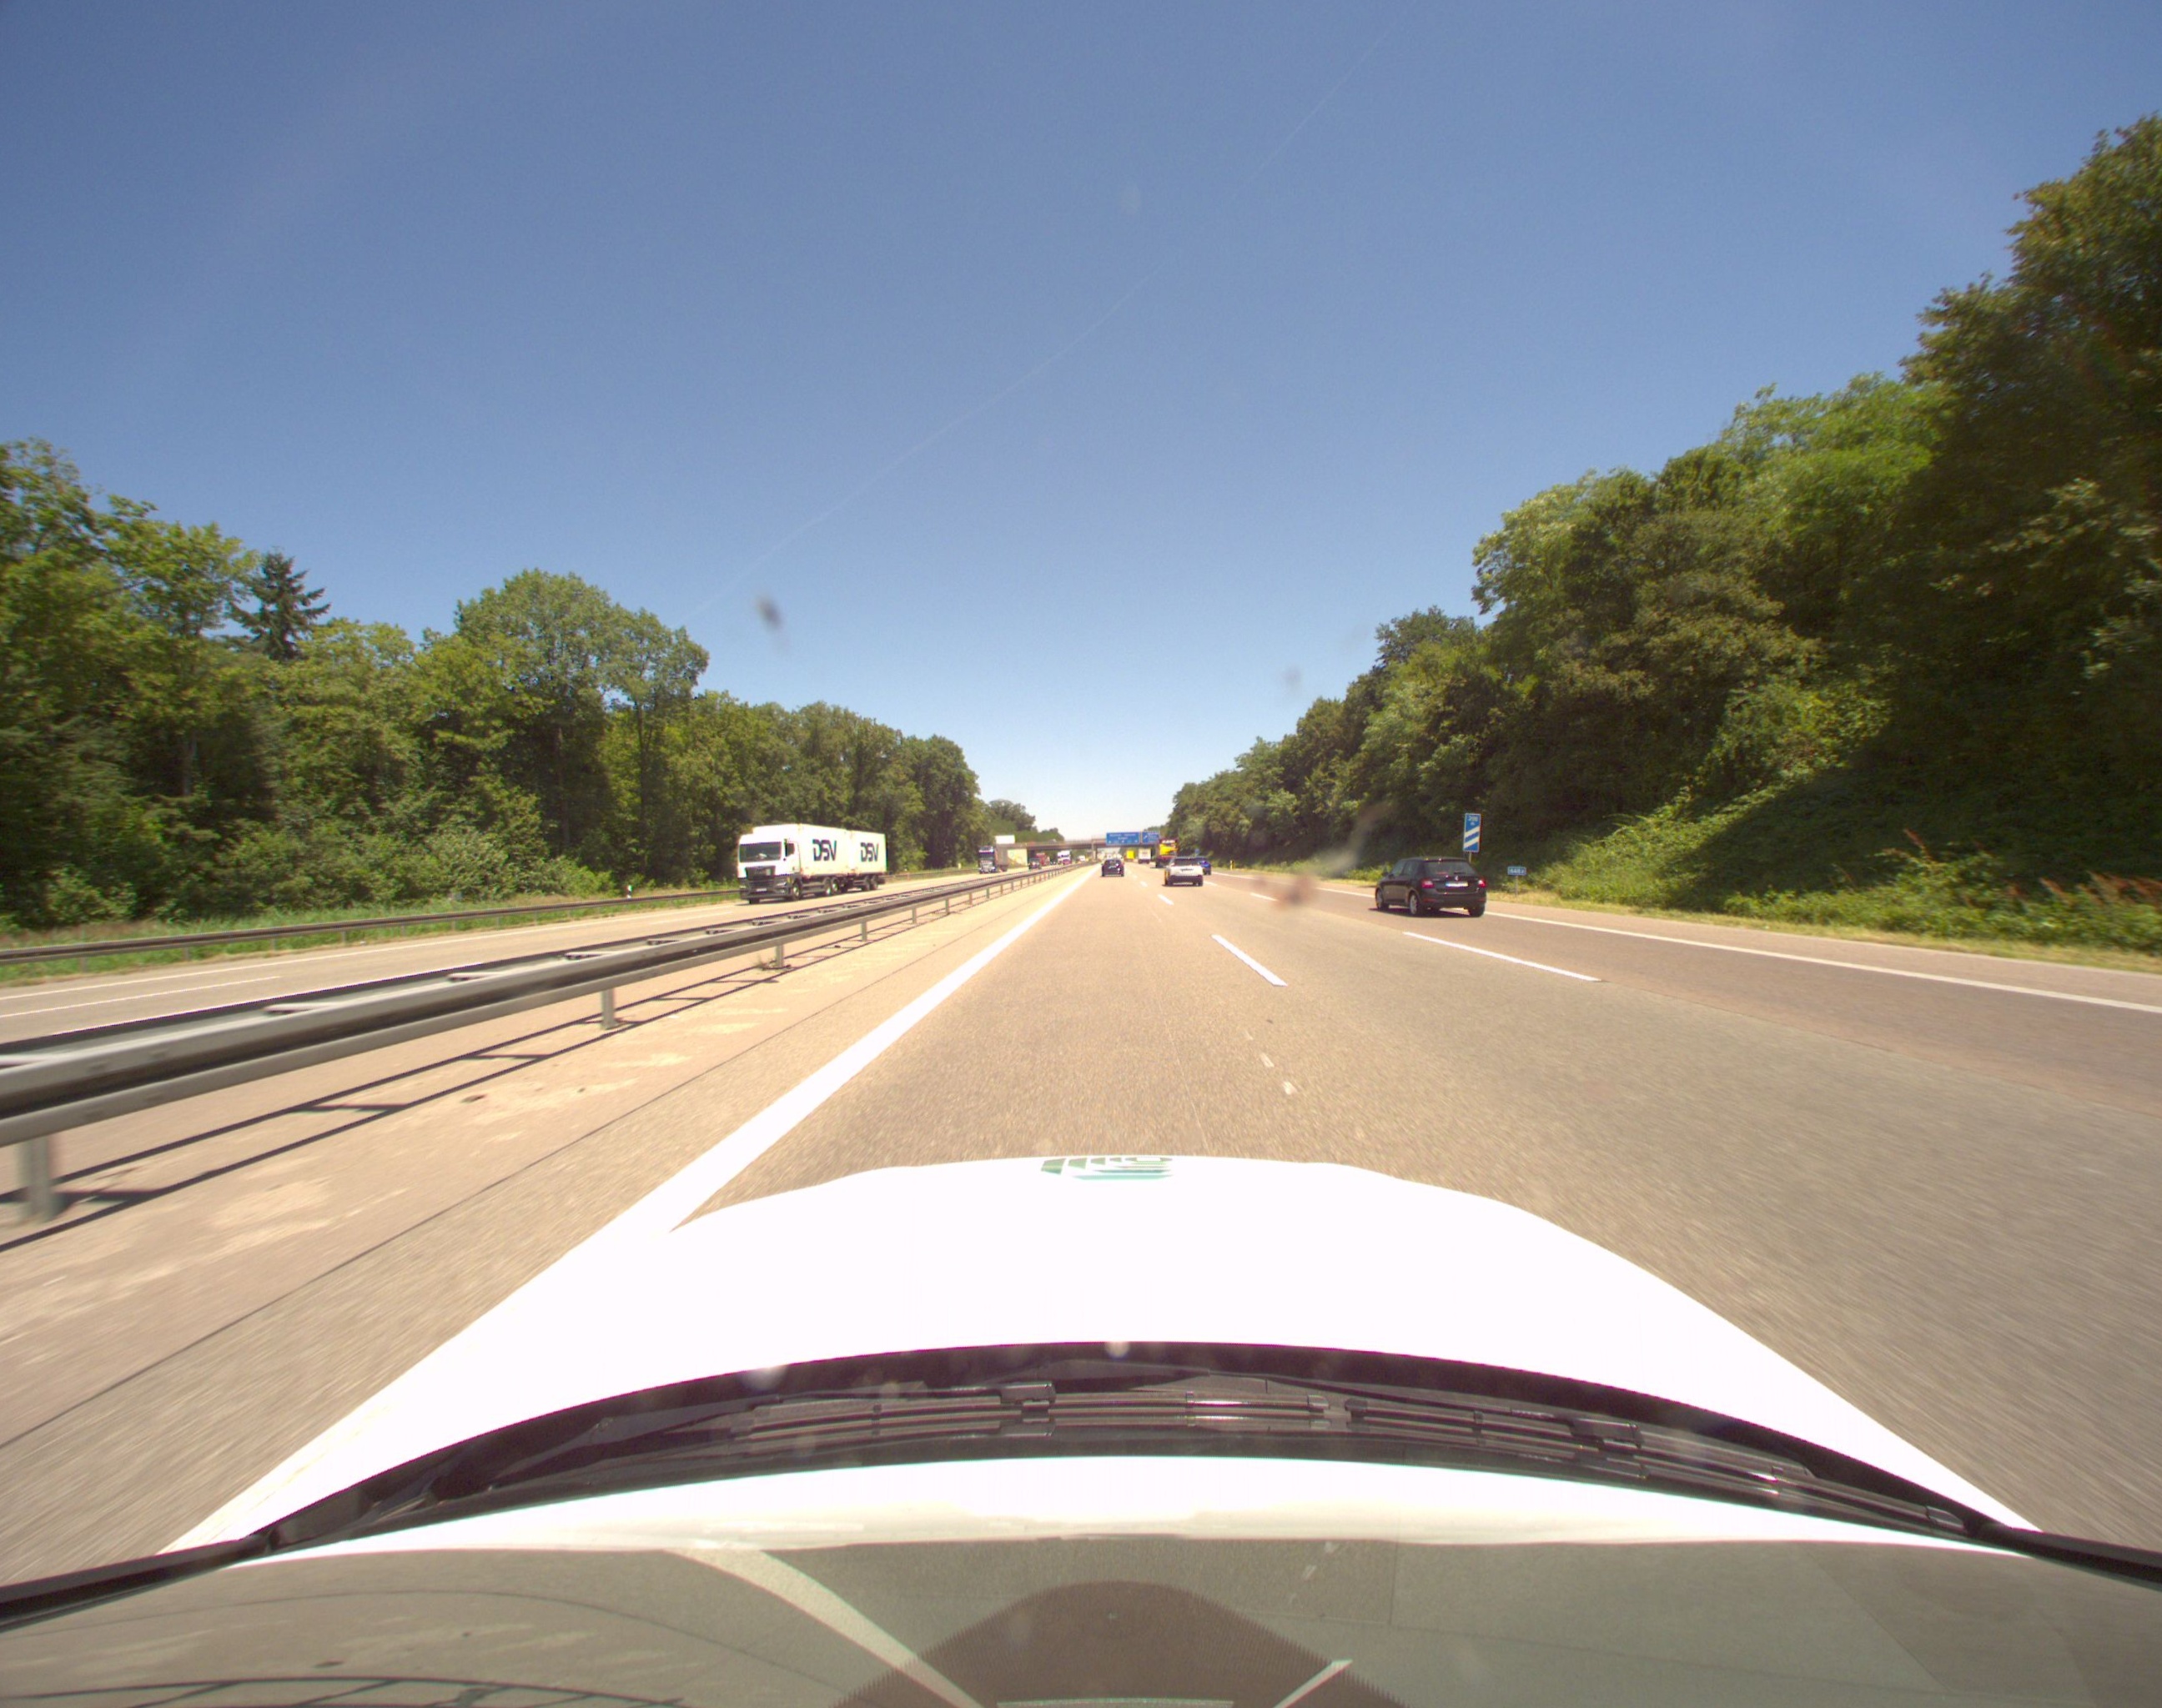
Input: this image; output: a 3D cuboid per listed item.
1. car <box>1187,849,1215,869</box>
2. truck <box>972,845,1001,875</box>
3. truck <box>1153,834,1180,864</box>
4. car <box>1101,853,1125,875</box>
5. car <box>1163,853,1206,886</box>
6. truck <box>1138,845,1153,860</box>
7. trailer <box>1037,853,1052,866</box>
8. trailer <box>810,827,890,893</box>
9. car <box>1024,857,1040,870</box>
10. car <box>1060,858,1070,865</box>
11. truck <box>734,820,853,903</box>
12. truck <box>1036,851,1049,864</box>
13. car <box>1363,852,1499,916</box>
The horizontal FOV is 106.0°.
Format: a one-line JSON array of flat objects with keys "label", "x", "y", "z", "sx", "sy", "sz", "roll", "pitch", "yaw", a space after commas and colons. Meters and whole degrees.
[{"label": "car", "x": 10.072, "y": 0.435, "z": 68.394, "sx": 1.863, "sy": 1.556, "sz": 4.203, "roll": -1, "pitch": -1, "yaw": 2}, {"label": "truck", "x": -13.946, "y": 0.850, "z": 120.463, "sx": 3.311, "sy": 4.342, "sz": 6.615, "roll": -1, "pitch": -1, "yaw": 2}, {"label": "truck", "x": 11.736, "y": -0.614, "z": 112.860, "sx": 2.963, "sy": 4.037, "sz": 10.986, "roll": 0, "pitch": -1, "yaw": 2}, {"label": "car", "x": 2.565, "y": 0.796, "z": 65.724, "sx": 1.820, "sy": 1.706, "sz": 4.001, "roll": -1, "pitch": -1, "yaw": 2}, {"label": "car", "x": 5.466, "y": 0.808, "z": 43.582, "sx": 1.820, "sy": 1.608, "sz": 4.810, "roll": -1, "pitch": -1, "yaw": 2}, {"label": "truck", "x": 14.946, "y": -0.393, "z": 187.207, "sx": 3.013, "sy": 3.319, "sz": 10.789, "roll": -1, "pitch": -1, "yaw": 6}, {"label": "trailer", "x": -9.945, "y": 1.573, "z": 223.700, "sx": 2.768, "sy": 3.393, "sz": 13.297, "roll": -1, "pitch": -1, "yaw": 2}, {"label": "trailer", "x": -15.369, "y": 0.412, "z": 54.964, "sx": 2.569, "sy": 3.989, "sz": 8.562, "roll": -2, "pitch": 0, "yaw": 2}, {"label": "car", "x": -8.330, "y": 1.574, "z": 139.146, "sx": 1.986, "sy": 2.013, "sz": 5.361, "roll": -4, "pitch": -1, "yaw": 2}, {"label": "car", "x": -3.542, "y": 1.667, "z": 179.808, "sx": 1.724, "sy": 1.585, "sz": 4.648, "roll": -1, "pitch": -1, "yaw": 3}, {"label": "truck", "x": -15.690, "y": 0.374, "z": 45.500, "sx": 2.571, "sy": 4.007, "sz": 10.342, "roll": -2, "pitch": 0, "yaw": 2}, {"label": "truck", "x": -10.260, "y": 0.990, "z": 216.581, "sx": 2.738, "sy": 3.393, "sz": 7.665, "roll": -1, "pitch": -1, "yaw": 2}, {"label": "car", "x": 8.794, "y": 0.697, "z": 20.920, "sx": 1.663, "sy": 1.447, "sz": 4.575, "roll": -1, "pitch": -1, "yaw": 2}]
